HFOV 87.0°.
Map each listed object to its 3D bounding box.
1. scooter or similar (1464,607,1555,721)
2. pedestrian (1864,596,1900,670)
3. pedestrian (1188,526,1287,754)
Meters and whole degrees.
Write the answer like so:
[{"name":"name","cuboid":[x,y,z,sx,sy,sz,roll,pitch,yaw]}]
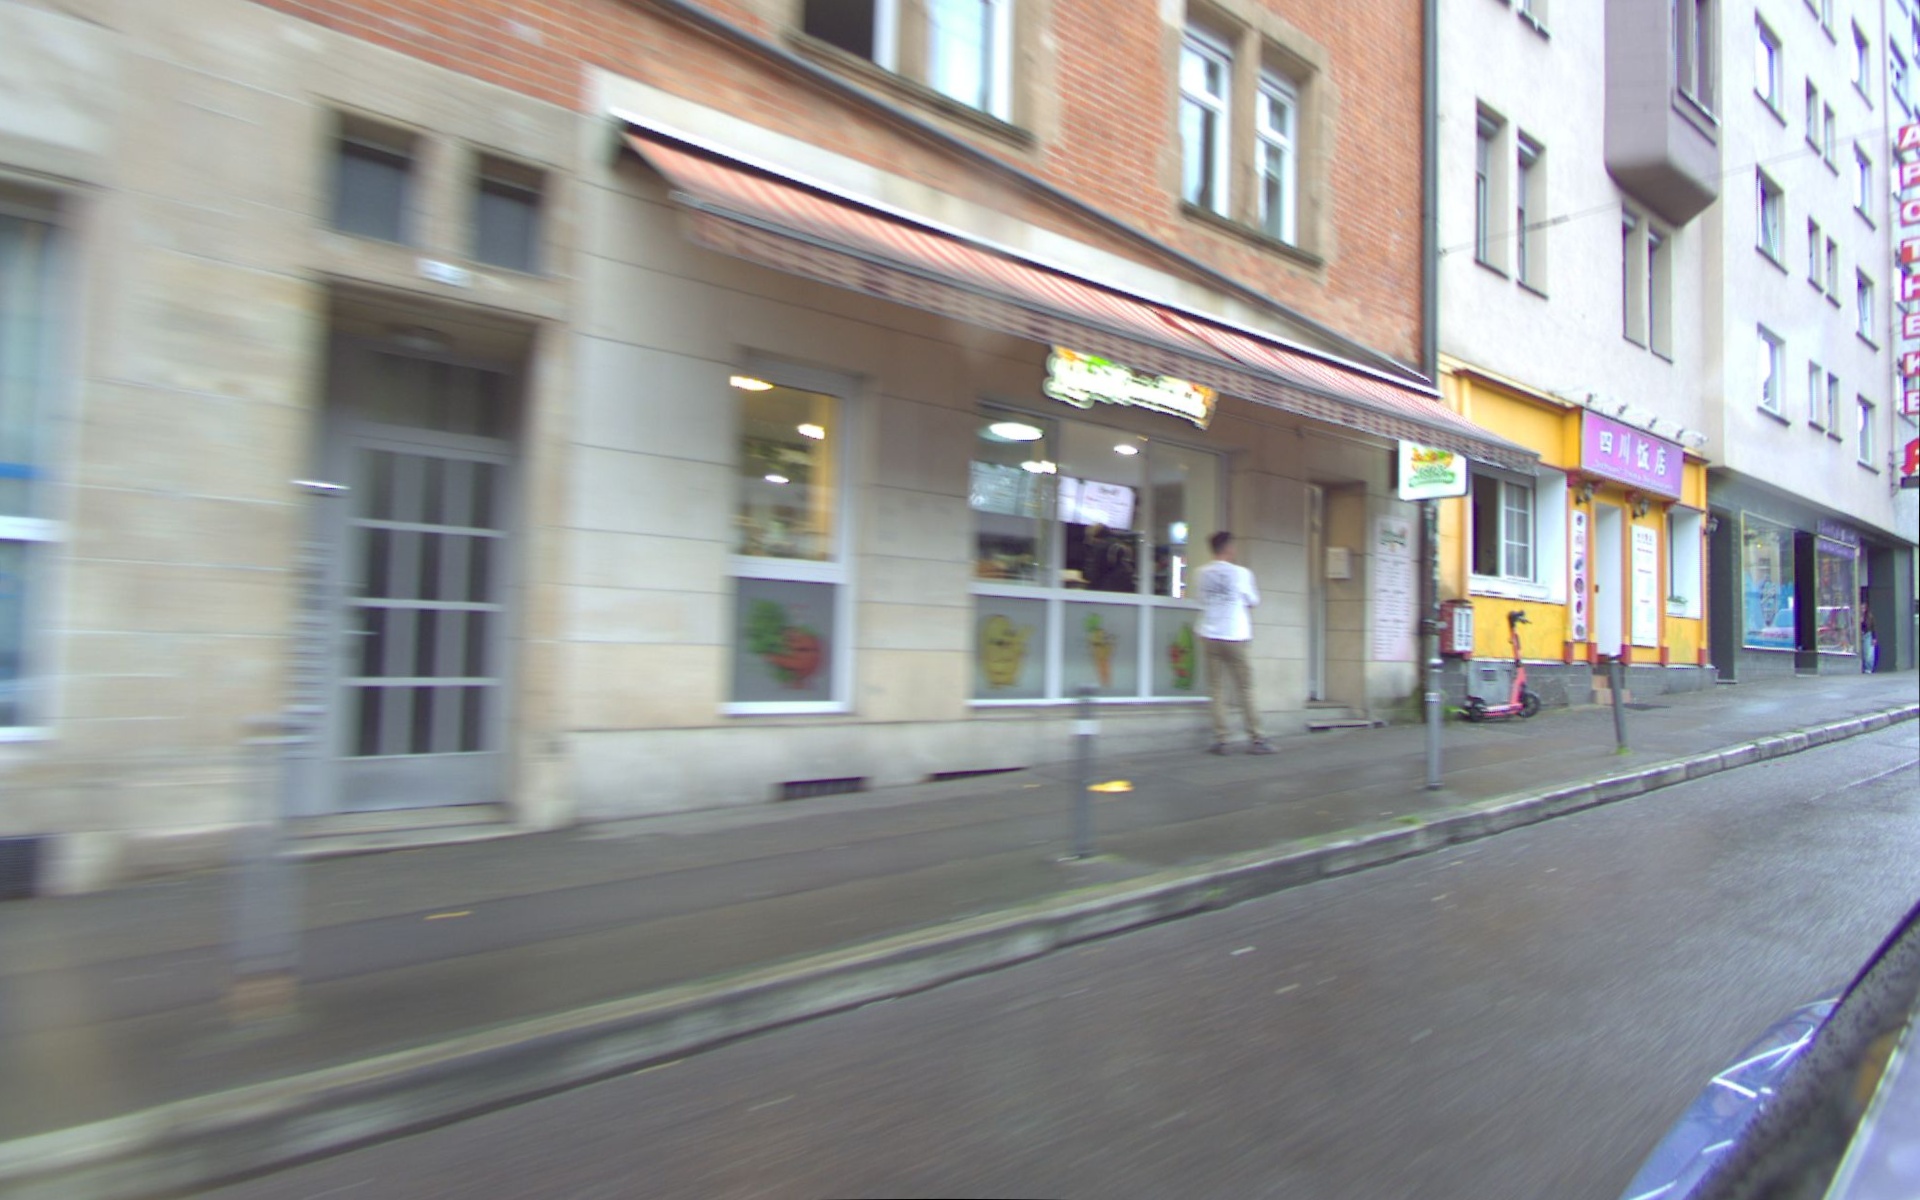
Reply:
[{"name":"scooter or similar","cuboid":[6.211,0.707,11.431,1.170,1.238,0.258,1,-2,-27]},{"name":"pedestrian","cuboid":[21.160,0.759,23.230,0.478,1.666,0.327,-2,-2,31]},{"name":"pedestrian","cuboid":[2.320,0.318,8.507,0.567,1.853,0.565,1,2,-9]}]
